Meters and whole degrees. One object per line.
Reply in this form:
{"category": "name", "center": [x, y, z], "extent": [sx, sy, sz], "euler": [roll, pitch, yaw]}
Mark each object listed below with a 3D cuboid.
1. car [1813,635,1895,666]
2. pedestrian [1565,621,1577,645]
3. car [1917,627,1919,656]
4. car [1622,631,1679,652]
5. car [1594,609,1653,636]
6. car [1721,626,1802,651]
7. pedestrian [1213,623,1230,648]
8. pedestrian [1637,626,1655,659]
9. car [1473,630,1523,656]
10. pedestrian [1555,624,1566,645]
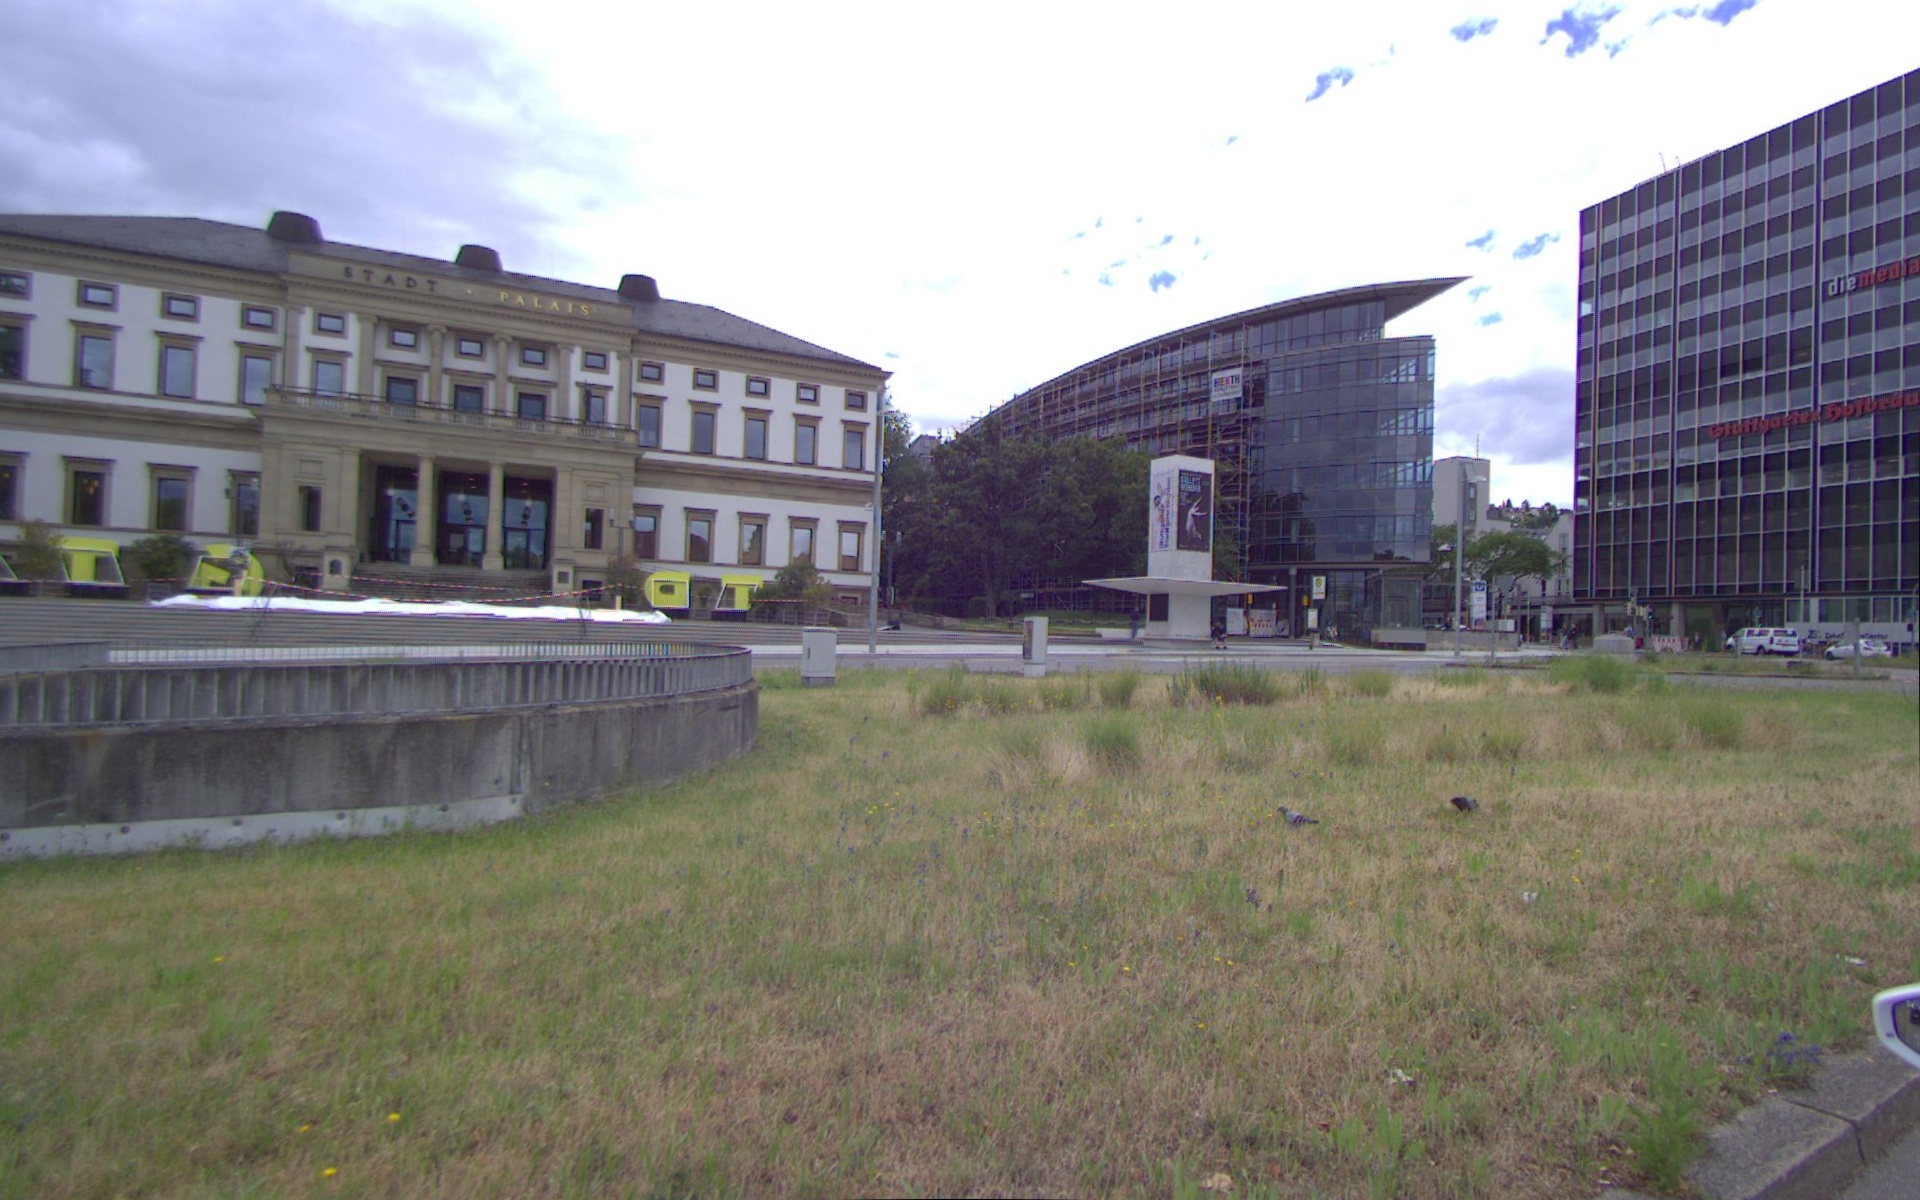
{"category": "car", "center": [58.307, 3.248, 65.590], "extent": [1.862, 1.632, 4.000], "euler": [-3, 1, 3]}
{"category": "pedestrian", "center": [41.861, 2.246, 68.798], "extent": [0.612, 1.614, 0.590], "euler": [2, 0, 25]}
{"category": "car", "center": [50.676, 2.176, 50.857], "extent": [1.784, 1.516, 3.905], "euler": [1, 0, 21]}
{"category": "car", "center": [55.330, 3.314, 80.553], "extent": [1.691, 1.522, 3.979], "euler": [1, 0, -3]}
{"category": "car", "center": [53.188, 1.806, 80.656], "extent": [1.961, 2.040, 3.999], "euler": [1, 0, -2]}
{"category": "car", "center": [55.571, 2.640, 69.761], "extent": [2.206, 1.522, 4.613], "euler": [1, 0, 5]}
{"category": "pedestrian", "center": [11.707, 1.605, 44.969], "extent": [0.552, 1.095, 0.473], "euler": [1, 0, -24]}
{"category": "pedestrian", "center": [51.446, 3.164, 75.345], "extent": [0.943, 2.393, 1.040], "euler": [1, 0, 26]}
{"category": "car", "center": [40.828, 3.225, 76.303], "extent": [1.767, 1.818, 3.457], "euler": [1, -1, -3]}
{"category": "pedestrian", "center": [41.437, 2.403, 69.279], "extent": [0.527, 1.414, 0.654], "euler": [2, 0, 25]}
